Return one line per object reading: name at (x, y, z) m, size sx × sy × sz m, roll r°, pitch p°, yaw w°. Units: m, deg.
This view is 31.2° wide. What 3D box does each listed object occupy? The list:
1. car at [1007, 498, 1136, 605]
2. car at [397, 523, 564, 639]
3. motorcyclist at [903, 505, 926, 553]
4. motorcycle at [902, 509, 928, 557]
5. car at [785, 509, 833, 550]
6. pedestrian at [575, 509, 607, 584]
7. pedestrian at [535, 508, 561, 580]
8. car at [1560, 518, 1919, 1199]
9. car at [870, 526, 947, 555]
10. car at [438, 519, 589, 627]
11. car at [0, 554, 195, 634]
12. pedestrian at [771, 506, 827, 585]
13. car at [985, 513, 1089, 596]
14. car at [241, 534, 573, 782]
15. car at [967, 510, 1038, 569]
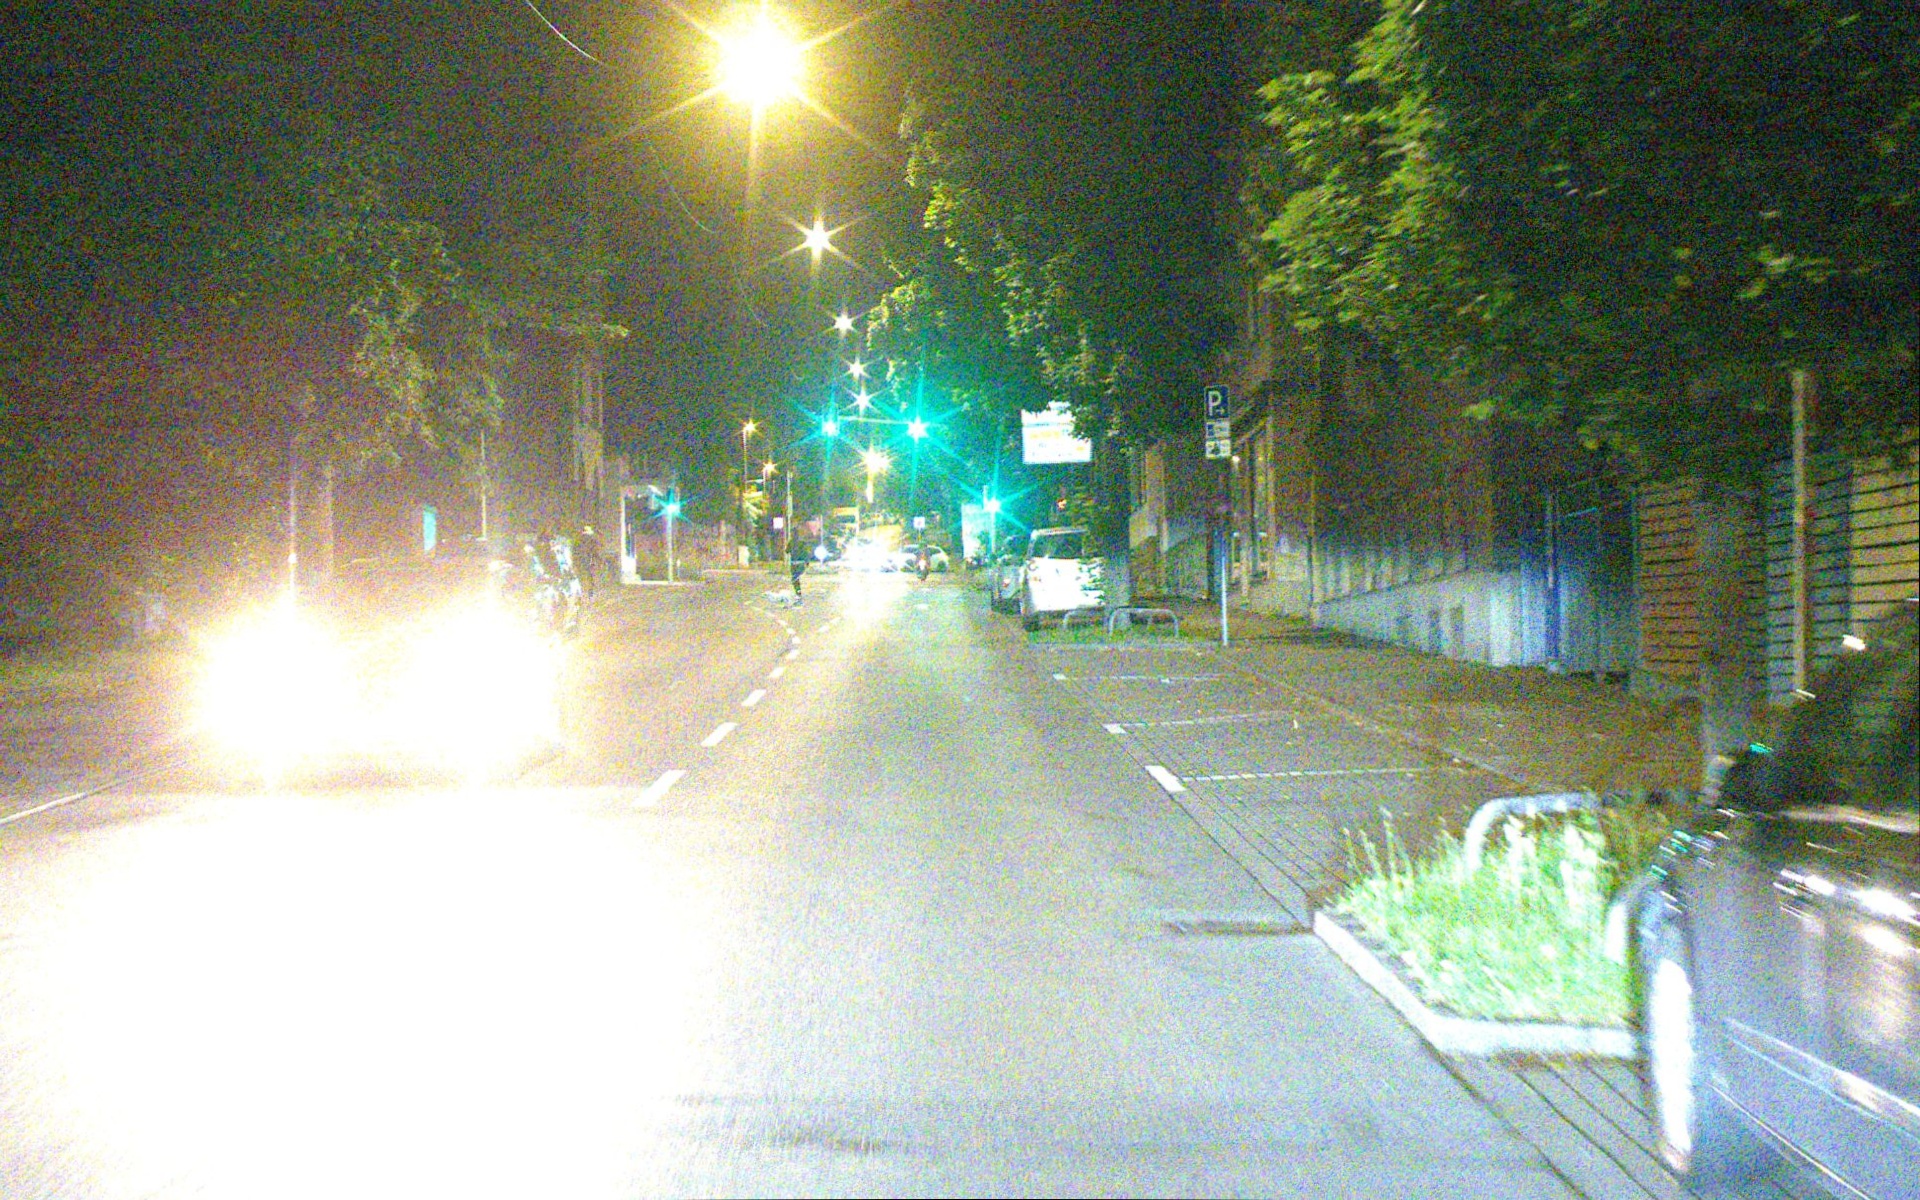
car at (1.744, -0.803, 55.116) m, size 1.812 × 1.588 × 4.274 m, roll -2°, pitch 2°, yaw -1°
car at (-6.227, -0.282, 45.014) m, size 1.721 × 1.432 × 4.191 m, roll 0°, pitch 1°, yaw -2°
motorcyclist at (-1.657, -2.600, 125.402) m, size 0.848 × 1.746 × 0.805 m, roll 0°, pitch 0°, yaw -1°
motorcycle at (-1.654, -2.435, 125.359) m, size 0.931 × 1.746 × 2.625 m, roll 0°, pitch 0°, yaw -1°
car at (-6.421, -2.986, 146.544) m, size 1.944 × 1.711 × 4.000 m, roll 0°, pitch 0°, yaw -1°
pedestrian at (-8.698, -1.265, 81.002) m, size 0.718 × 1.759 × 0.603 m, roll 0°, pitch 0°, yaw -9°
pedestrian at (-9.695, -1.314, 80.896) m, size 0.569 × 1.694 × 0.930 m, roll 0°, pitch 0°, yaw -10°
car at (2.404, 0.590, 6.444) m, size 1.763 × 1.471 × 4.080 m, roll -2°, pitch 2°, yaw 0°
car at (-2.615, -3.011, 174.833) m, size 1.719 × 1.452 × 3.913 m, roll 0°, pitch 0°, yaw 41°
car at (-6.384, -0.414, 49.573) m, size 1.721 × 1.432 × 4.811 m, roll -2°, pitch 1°, yaw -2°
car at (-16.024, -0.124, 63.799) m, size 3.262 × 1.448 × 1.791 m, roll 0°, pitch 0°, yaw 32°
pedestrian at (-3.568, -1.209, 76.229) m, size 0.766 × 1.694 × 0.924 m, roll 3°, pitch 2°, yaw 43°
car at (1.513, -0.928, 68.604) m, size 1.868 × 1.521 × 4.150 m, roll -2°, pitch 2°, yaw -1°
car at (-3.564, 0.314, 22.749) m, size 1.645 × 1.417 × 3.871 m, roll -2°, pitch 2°, yaw -2°
car at (1.073, -1.548, 87.800) m, size 1.629 × 1.491 × 3.415 m, roll 0°, pitch 1°, yaw -2°
